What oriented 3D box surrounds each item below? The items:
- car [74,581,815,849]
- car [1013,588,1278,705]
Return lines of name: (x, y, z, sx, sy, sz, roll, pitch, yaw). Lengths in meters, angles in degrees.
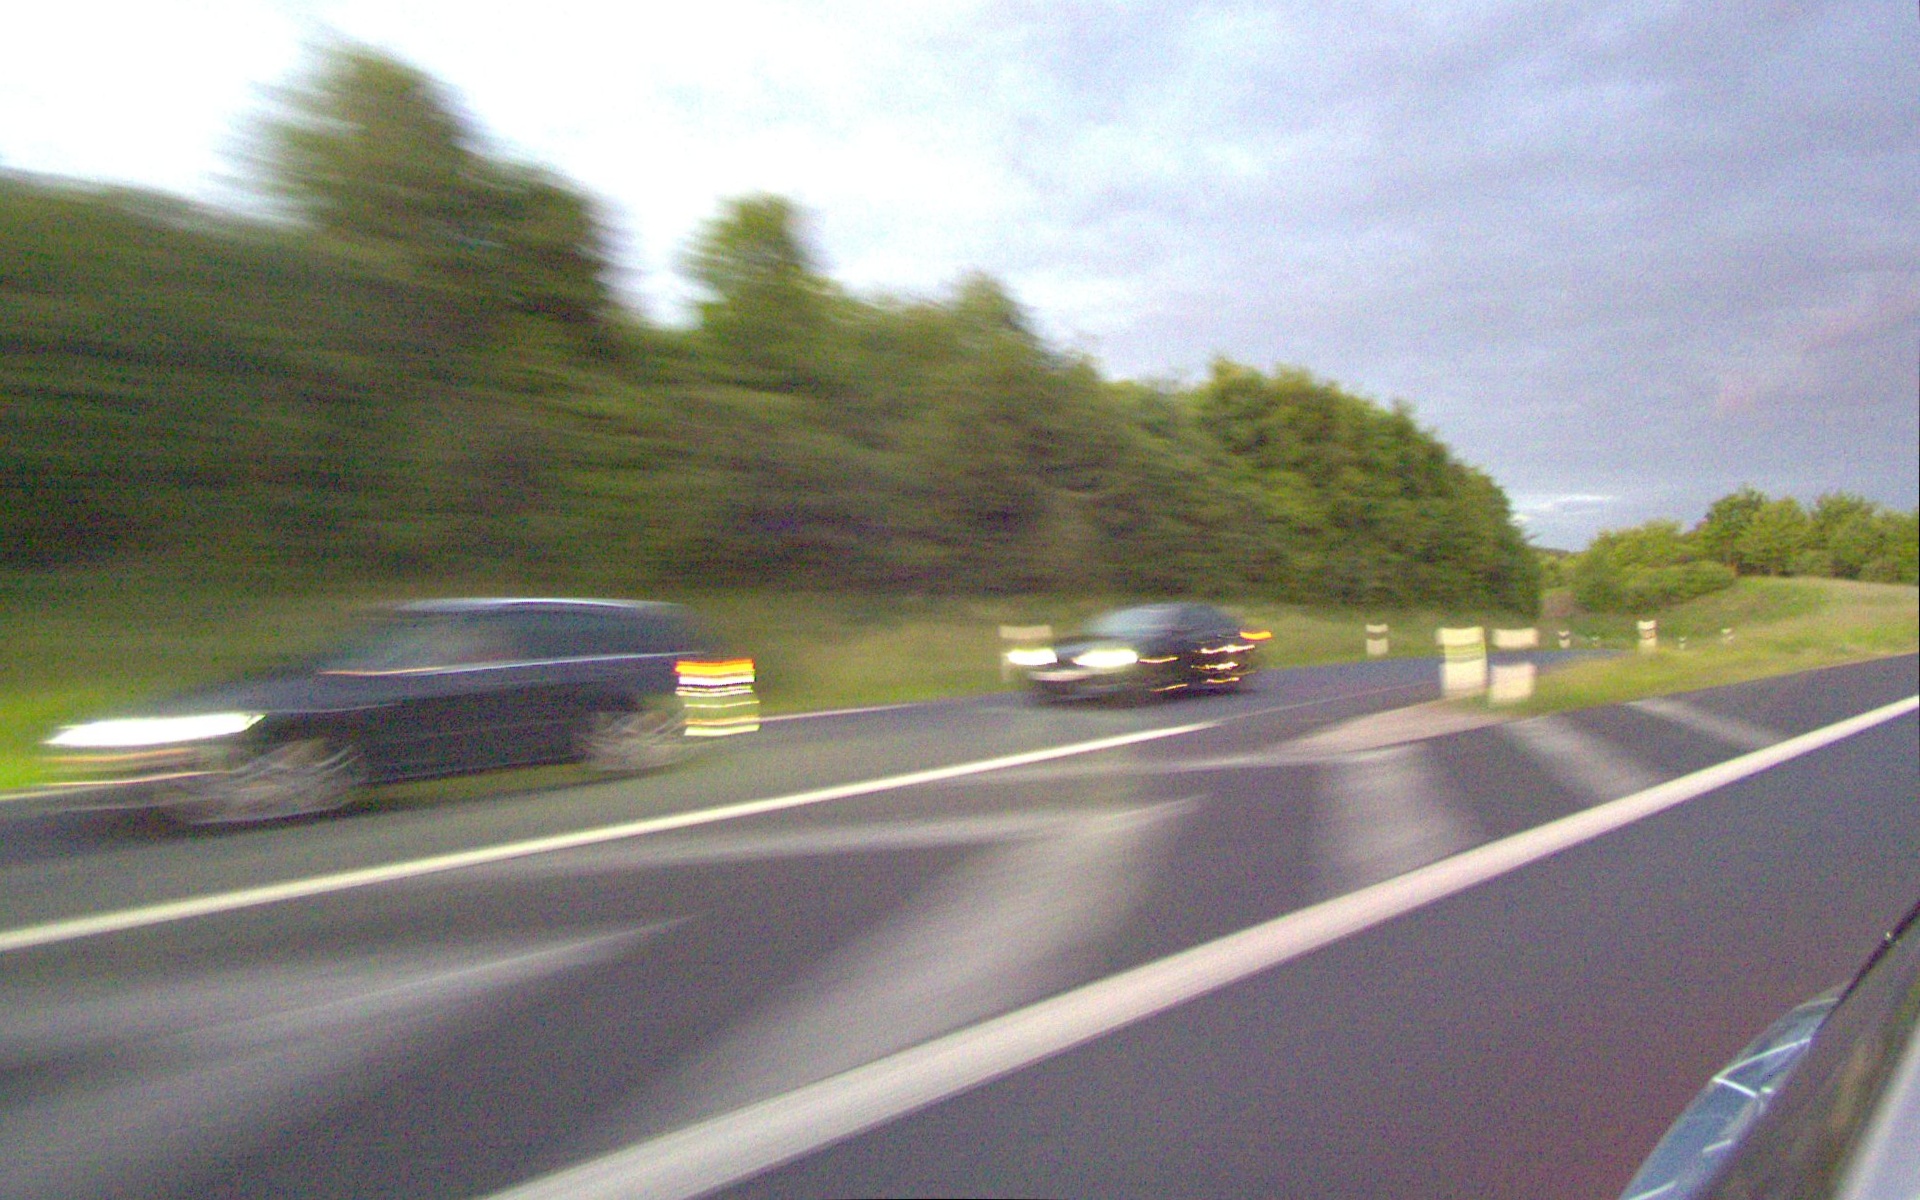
car: (-3.742, 0.668, 8.179, 1.797, 1.511, 5.036, -3, -2, 44)
car: (2.924, 0.624, 15.290, 1.797, 1.511, 4.365, -3, -2, 44)
